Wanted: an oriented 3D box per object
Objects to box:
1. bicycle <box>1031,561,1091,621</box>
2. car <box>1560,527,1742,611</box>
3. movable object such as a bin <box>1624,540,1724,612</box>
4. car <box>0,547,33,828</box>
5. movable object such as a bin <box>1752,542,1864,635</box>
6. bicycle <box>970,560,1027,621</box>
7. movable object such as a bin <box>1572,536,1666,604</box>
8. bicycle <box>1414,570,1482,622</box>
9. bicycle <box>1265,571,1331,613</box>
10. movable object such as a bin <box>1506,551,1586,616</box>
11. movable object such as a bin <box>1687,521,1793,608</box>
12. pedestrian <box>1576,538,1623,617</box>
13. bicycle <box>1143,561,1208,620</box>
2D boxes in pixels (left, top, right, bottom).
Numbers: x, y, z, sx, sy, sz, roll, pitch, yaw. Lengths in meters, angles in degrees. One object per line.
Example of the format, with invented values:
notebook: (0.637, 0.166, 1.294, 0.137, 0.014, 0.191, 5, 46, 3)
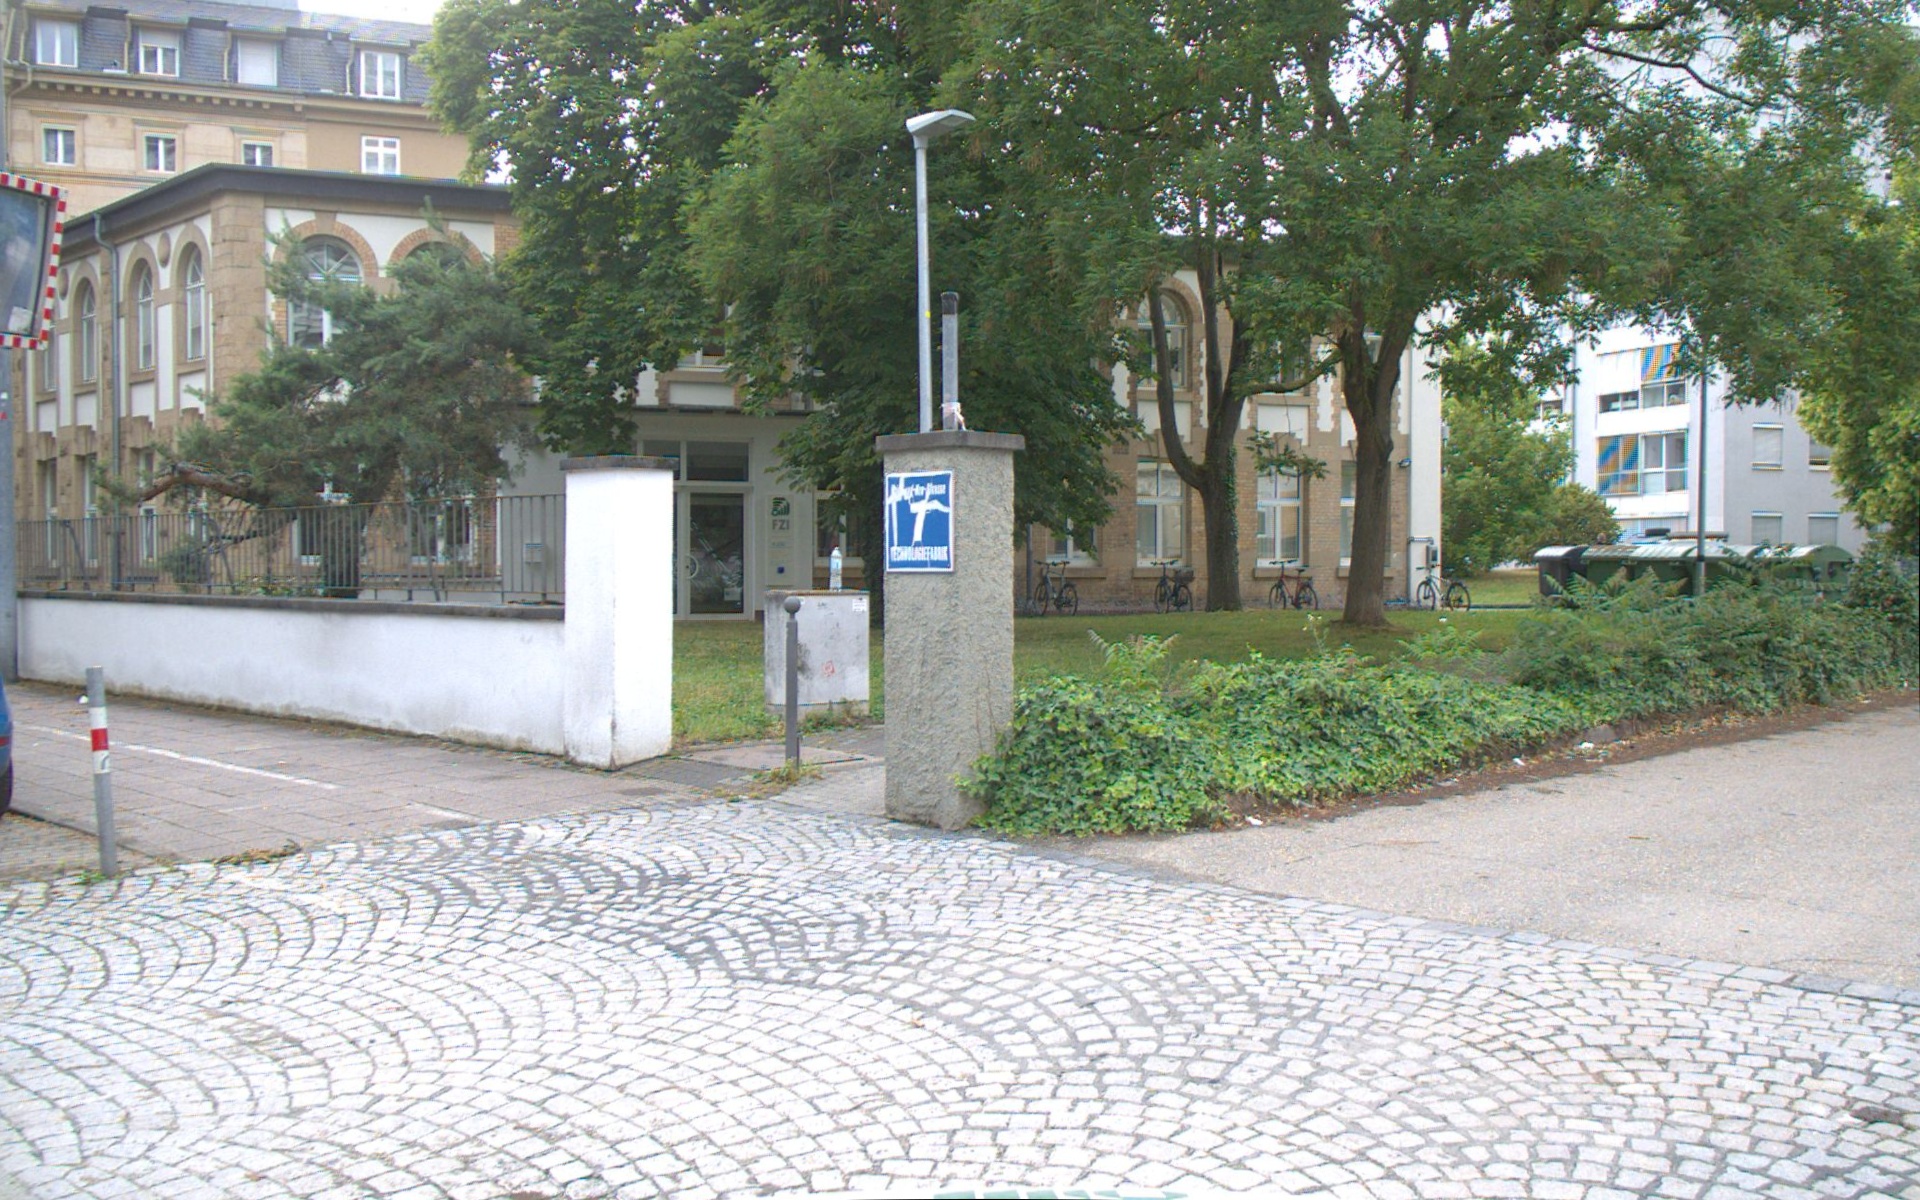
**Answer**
bicycle: (1.973, -0.200, 32.586, 0.606, 1.139, 2.214, -1, 2, -12)
car: (17.458, -0.763, 41.765, 4.280, 2.049, 1.841, 0, 0, -24)
movable object such as a bin: (13.133, -0.456, 30.451, 1.039, 1.287, 1.344, 0, 1, -25)
car: (-6.767, 0.464, 9.399, 3.373, 1.486, 1.669, 1, 3, 43)
movable object such as a bin: (14.124, -0.204, 27.587, 1.033, 1.475, 1.352, 0, 3, -11)
bicycle: (0.728, -0.198, 32.233, 0.606, 1.139, 2.214, -1, 2, -12)
movable object such as a bin: (12.701, -0.582, 31.911, 1.040, 1.287, 1.342, 0, 1, -28)
bicycle: (10.506, -0.099, 35.672, 0.389, 1.084, 1.817, 0, 2, -21)
bicycle: (7.026, -0.178, 34.473, 0.606, 0.827, 1.939, -1, 2, -12)
movable object such as a bin: (11.734, -0.337, 33.148, 1.032, 1.287, 1.352, 0, 1, -7)
movable object such as a bin: (13.682, -0.621, 29.032, 1.039, 1.481, 1.344, 0, 1, -25)
pedestrian: (14.986, -0.519, 38.787, 0.744, 1.840, 0.693, -1, 0, -23)
bicycle: (4.348, -0.207, 33.515, 0.606, 1.139, 2.214, -1, 2, -12)
